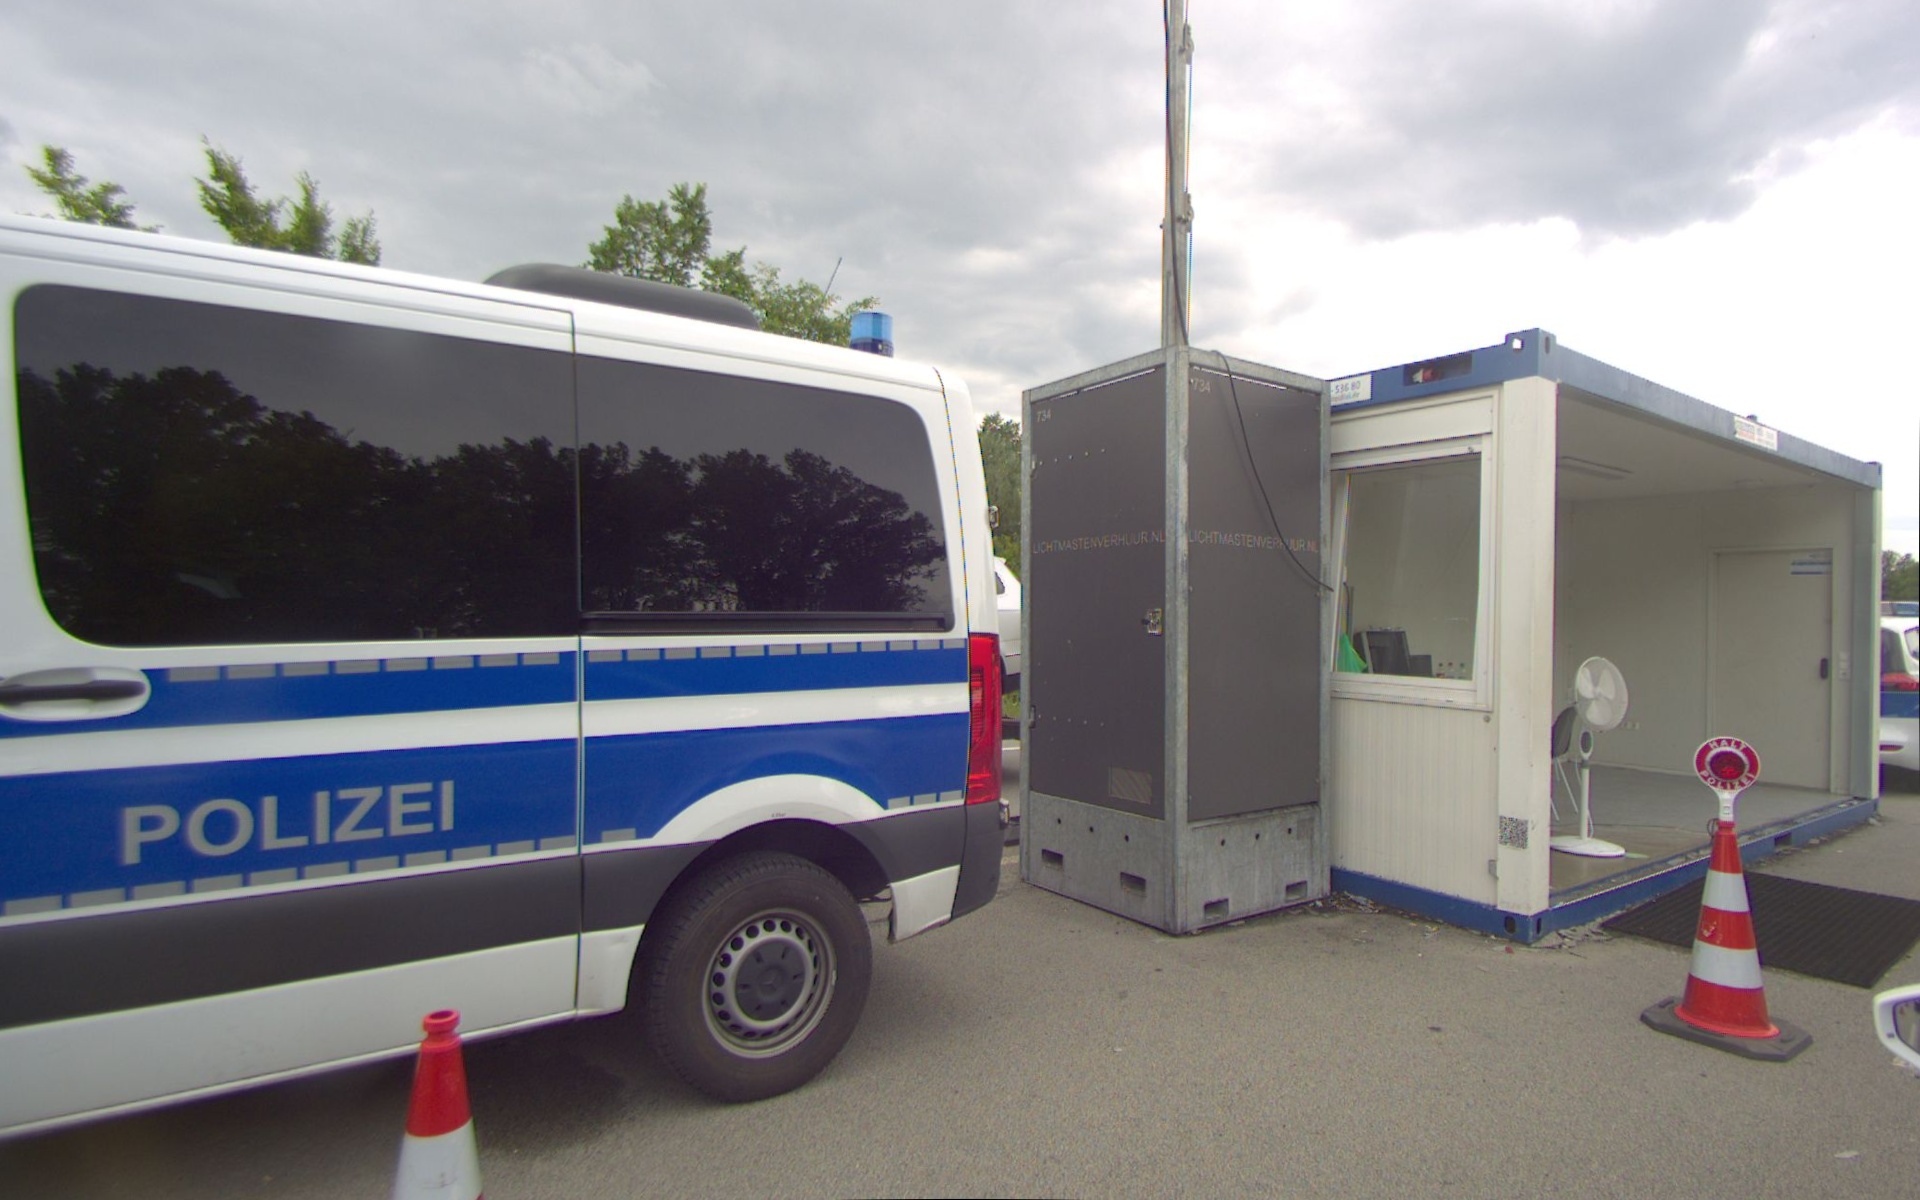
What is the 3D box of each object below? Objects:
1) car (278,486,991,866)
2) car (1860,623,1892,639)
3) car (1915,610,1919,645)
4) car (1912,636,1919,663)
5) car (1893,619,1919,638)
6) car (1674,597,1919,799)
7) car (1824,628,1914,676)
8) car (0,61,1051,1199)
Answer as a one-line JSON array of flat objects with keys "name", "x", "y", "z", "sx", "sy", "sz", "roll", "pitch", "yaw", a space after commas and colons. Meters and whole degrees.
[{"name": "car", "x": -2.223, "y": 0.451, "z": 7.564, "sx": 4.723, "sy": 2.015, "sz": 1.979, "roll": 2, "pitch": 0, "yaw": -37}, {"name": "car", "x": 89.488, "y": 3.007, "z": 98.183, "sx": 1.828, "sy": 1.482, "sz": 3.985, "roll": 1, "pitch": -1, "yaw": 37}, {"name": "car", "x": 64.089, "y": 1.858, "z": 66.015, "sx": 1.836, "sy": 2.252, "sz": 4.230, "roll": 1, "pitch": -1, "yaw": 44}, {"name": "car", "x": 54.822, "y": 2.801, "z": 56.403, "sx": 3.974, "sy": 1.482, "sz": 1.833, "roll": 2, "pitch": -1, "yaw": -45}, {"name": "car", "x": 78.519, "y": 2.376, "z": 82.947, "sx": 1.829, "sy": 1.482, "sz": 3.982, "roll": 1, "pitch": -1, "yaw": 39}, {"name": "car", "x": 9.499, "y": 0.896, "z": 10.652, "sx": 3.966, "sy": 1.766, "sz": 1.858, "roll": 2, "pitch": -1, "yaw": -34}, {"name": "car", "x": 31.436, "y": 1.759, "z": 34.709, "sx": 4.223, "sy": 1.518, "sz": 1.839, "roll": 2, "pitch": -1, "yaw": -41}, {"name": "car", "x": -2.430, "y": 0.183, "z": 2.847, "sx": 5.223, "sy": 2.496, "sz": 2.017, "roll": 2, "pitch": -1, "yaw": -33}]
